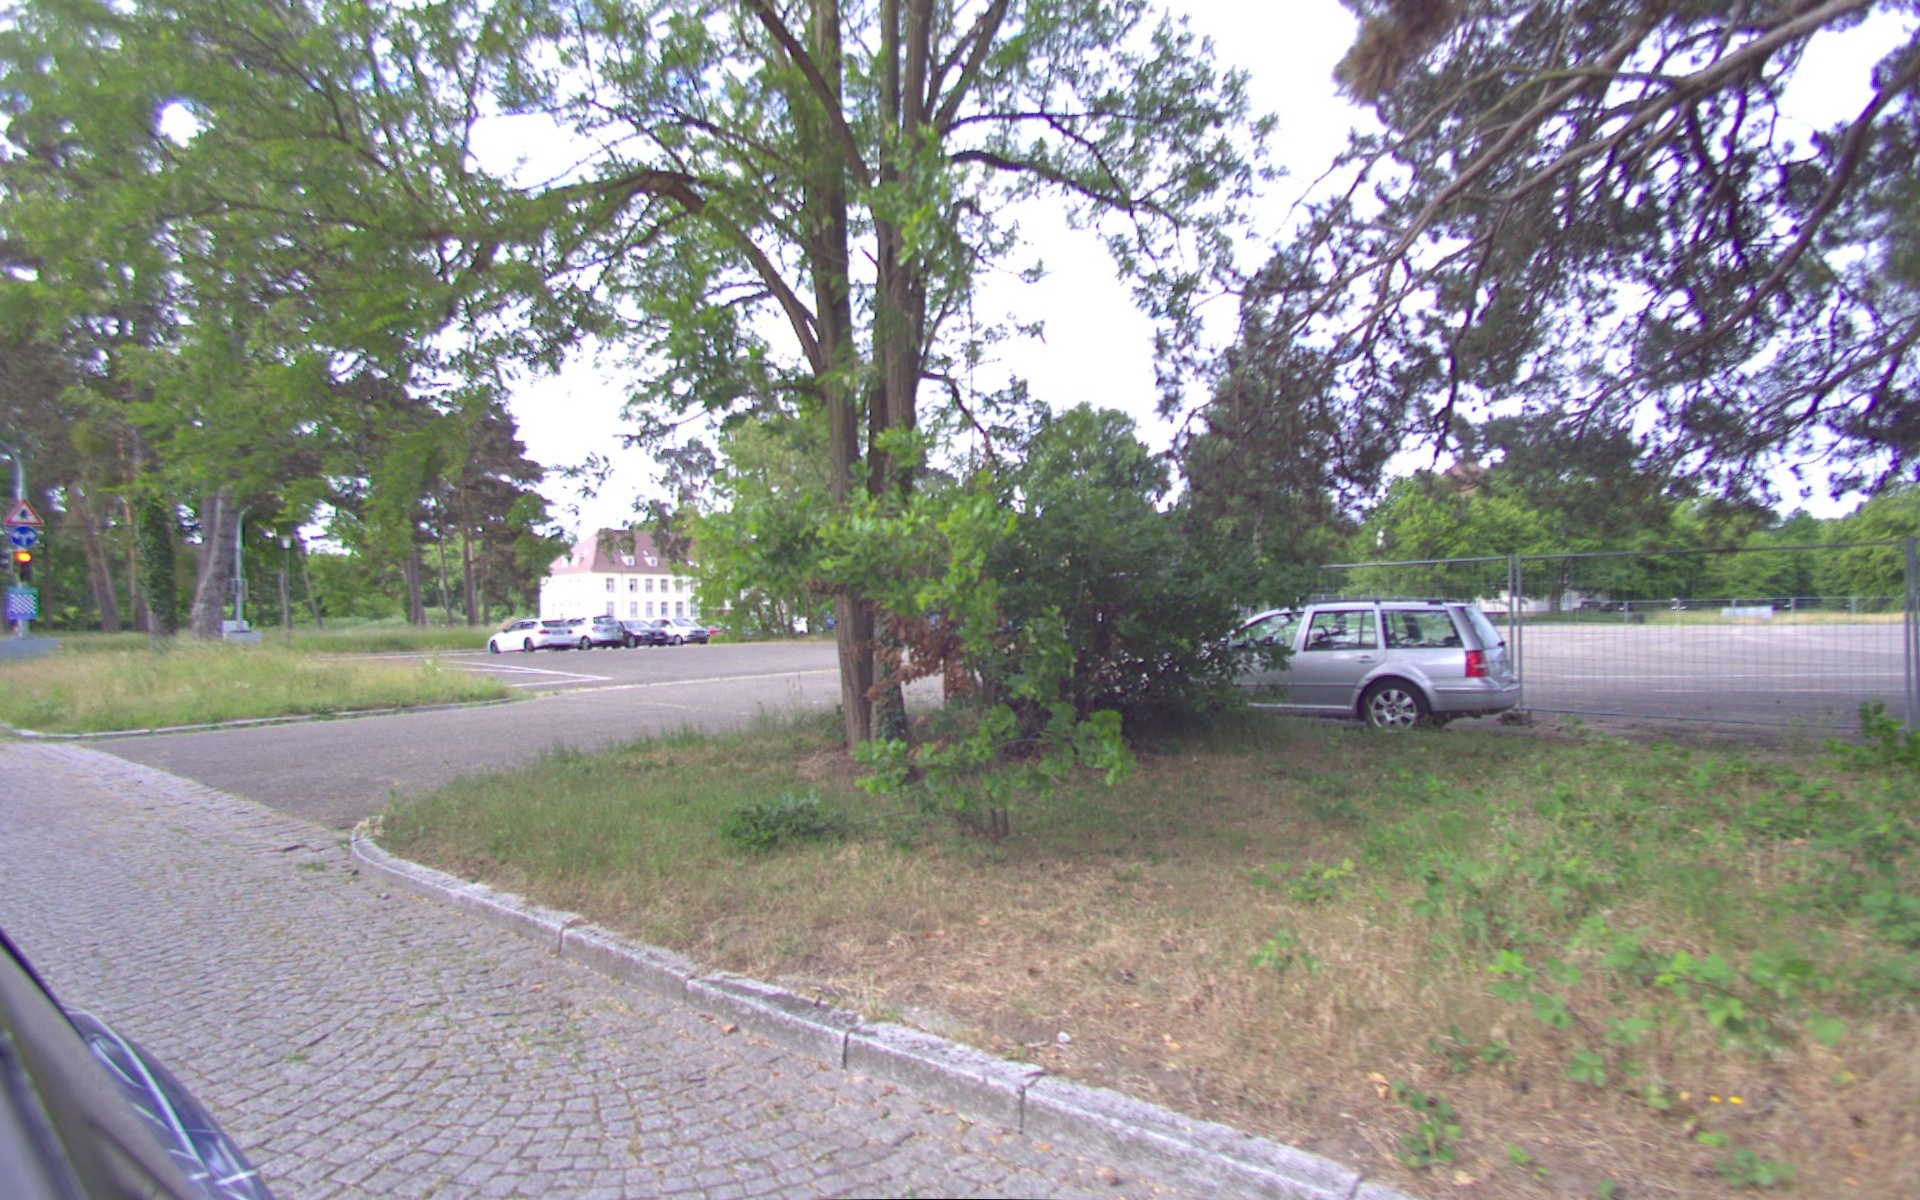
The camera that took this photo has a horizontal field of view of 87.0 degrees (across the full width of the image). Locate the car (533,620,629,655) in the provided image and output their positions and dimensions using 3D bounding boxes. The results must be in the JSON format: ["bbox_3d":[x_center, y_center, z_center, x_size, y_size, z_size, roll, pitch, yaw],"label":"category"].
[{"bbox_3d":[-17.049,1.670,45.462,4.445,1.460,1.975,-2,-1,36],"label":"car"}]

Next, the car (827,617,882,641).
[{"bbox_3d":[-7.662,2.117,73.256,3.795,1.696,1.729,-2,-1,35],"label":"car"}]

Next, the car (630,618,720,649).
[{"bbox_3d":[-14.125,1.666,50.052,4.445,1.460,1.975,-2,-1,36],"label":"car"}]

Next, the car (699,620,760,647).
[{"bbox_3d":[-14.932,2.148,65.579,3.795,1.696,1.729,-2,-1,35],"label":"car"}]

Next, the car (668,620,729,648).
[{"bbox_3d":[-16.388,2.149,63.309,3.795,1.696,1.593,-2,-1,35],"label":"car"}]

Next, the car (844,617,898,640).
[{"bbox_3d":[-6.713,2.122,75.930,3.795,1.696,1.729,-2,-1,35],"label":"car"}]

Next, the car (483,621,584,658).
[{"bbox_3d":[-18.243,1.669,43.233,4.445,1.460,1.975,-2,-1,36],"label":"car"}]

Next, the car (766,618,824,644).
[{"bbox_3d":[-11.399,2.136,69.792,3.795,1.696,1.729,-2,-1,35],"label":"car"}]

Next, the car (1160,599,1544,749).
[{"bbox_3d":[4.328,0.749,11.416,3.718,1.421,1.650,-2,-1,37],"label":"car"}]

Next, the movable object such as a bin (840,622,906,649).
[{"bbox_3d":[-3.669,1.485,42.633,2.711,1.079,1.046,-1,-1,31],"label":"movable object such as a bin"}]

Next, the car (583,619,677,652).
[{"bbox_3d":[-15.516,1.666,47.504,4.445,1.460,1.975,-2,-1,36],"label":"car"}]
